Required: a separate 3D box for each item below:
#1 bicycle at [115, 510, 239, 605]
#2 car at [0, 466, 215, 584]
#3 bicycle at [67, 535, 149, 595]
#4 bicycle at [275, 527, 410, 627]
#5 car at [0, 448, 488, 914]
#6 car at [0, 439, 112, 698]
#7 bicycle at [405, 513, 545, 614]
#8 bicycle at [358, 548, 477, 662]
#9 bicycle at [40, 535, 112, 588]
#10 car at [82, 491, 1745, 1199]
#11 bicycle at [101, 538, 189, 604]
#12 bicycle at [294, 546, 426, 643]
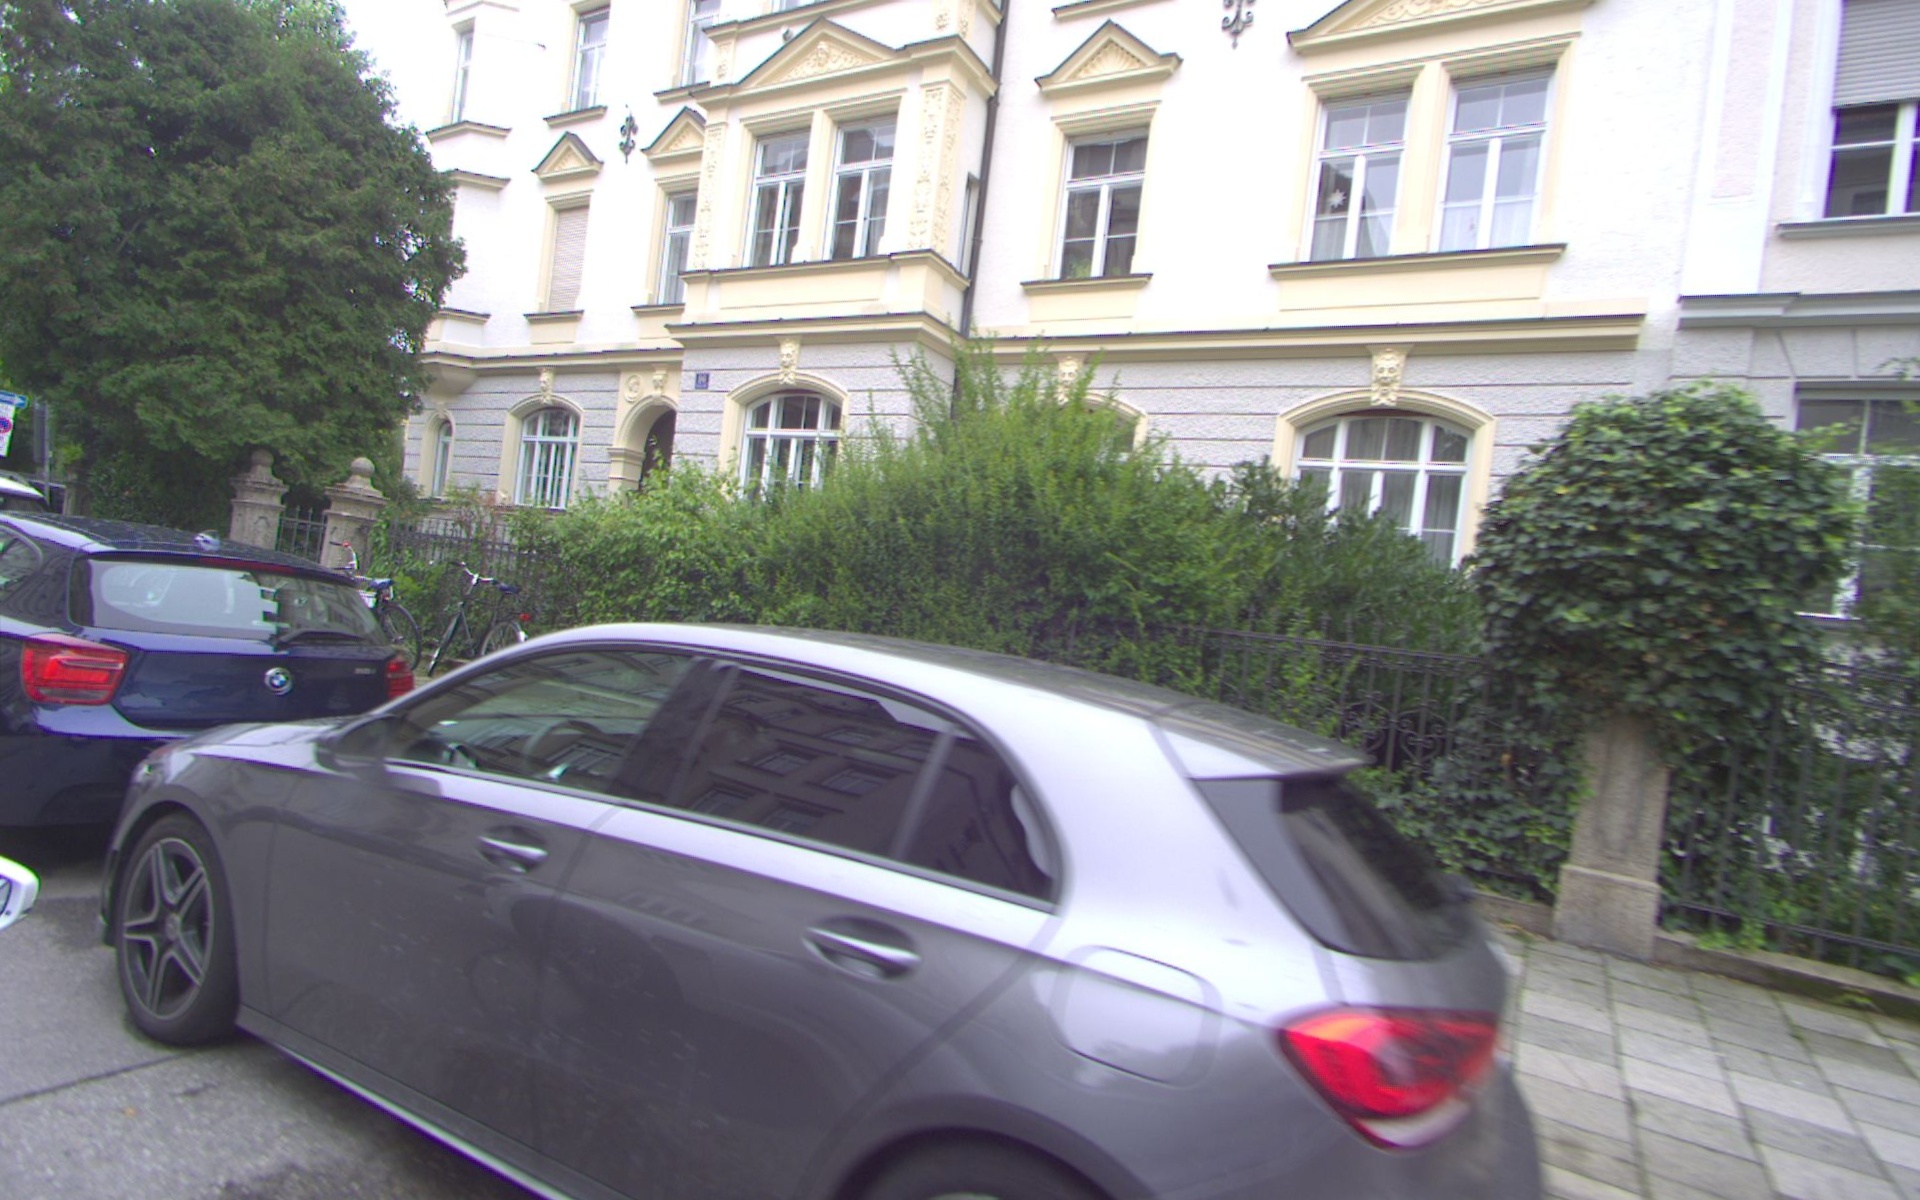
[{"bbox_3d":[-10.505,-0.570,13.499,1.328,1.108,0.514,6,1,13],"label":"bicycle"},{"bbox_3d":[-18.360,-1.574,20.583,1.869,1.975,4.540,8,1,25],"label":"car"},{"bbox_3d":[-12.689,-0.529,14.980,1.332,0.744,0.513,6,0,32],"label":"bicycle"},{"bbox_3d":[-8.704,-0.300,14.242,0.481,1.212,1.492,6,-2,26],"label":"bicycle"},{"bbox_3d":[-4.787,0.138,5.306,4.347,1.629,1.755,7,-1,28],"label":"car"},{"bbox_3d":[-8.754,-0.440,7.943,4.340,1.789,1.727,6,-3,32],"label":"car"},{"bbox_3d":[-6.772,-0.483,14.136,0.481,1.197,1.703,6,-1,29],"label":"bicycle"},{"bbox_3d":[-5.947,0.048,11.018,1.291,1.112,0.455,6,1,30],"label":"bicycle"},{"bbox_3d":[-13.793,-0.602,15.692,1.105,0.691,0.513,6,0,32],"label":"bicycle"},{"bbox_3d":[-0.495,0.680,2.872,3.949,1.522,1.687,6,-1,29],"label":"car"},{"bbox_3d":[-11.510,-0.415,14.200,1.332,0.791,0.513,6,0,32],"label":"bicycle"},{"bbox_3d":[-7.592,-0.049,12.782,0.448,1.112,1.311,6,0,29],"label":"bicycle"}]
